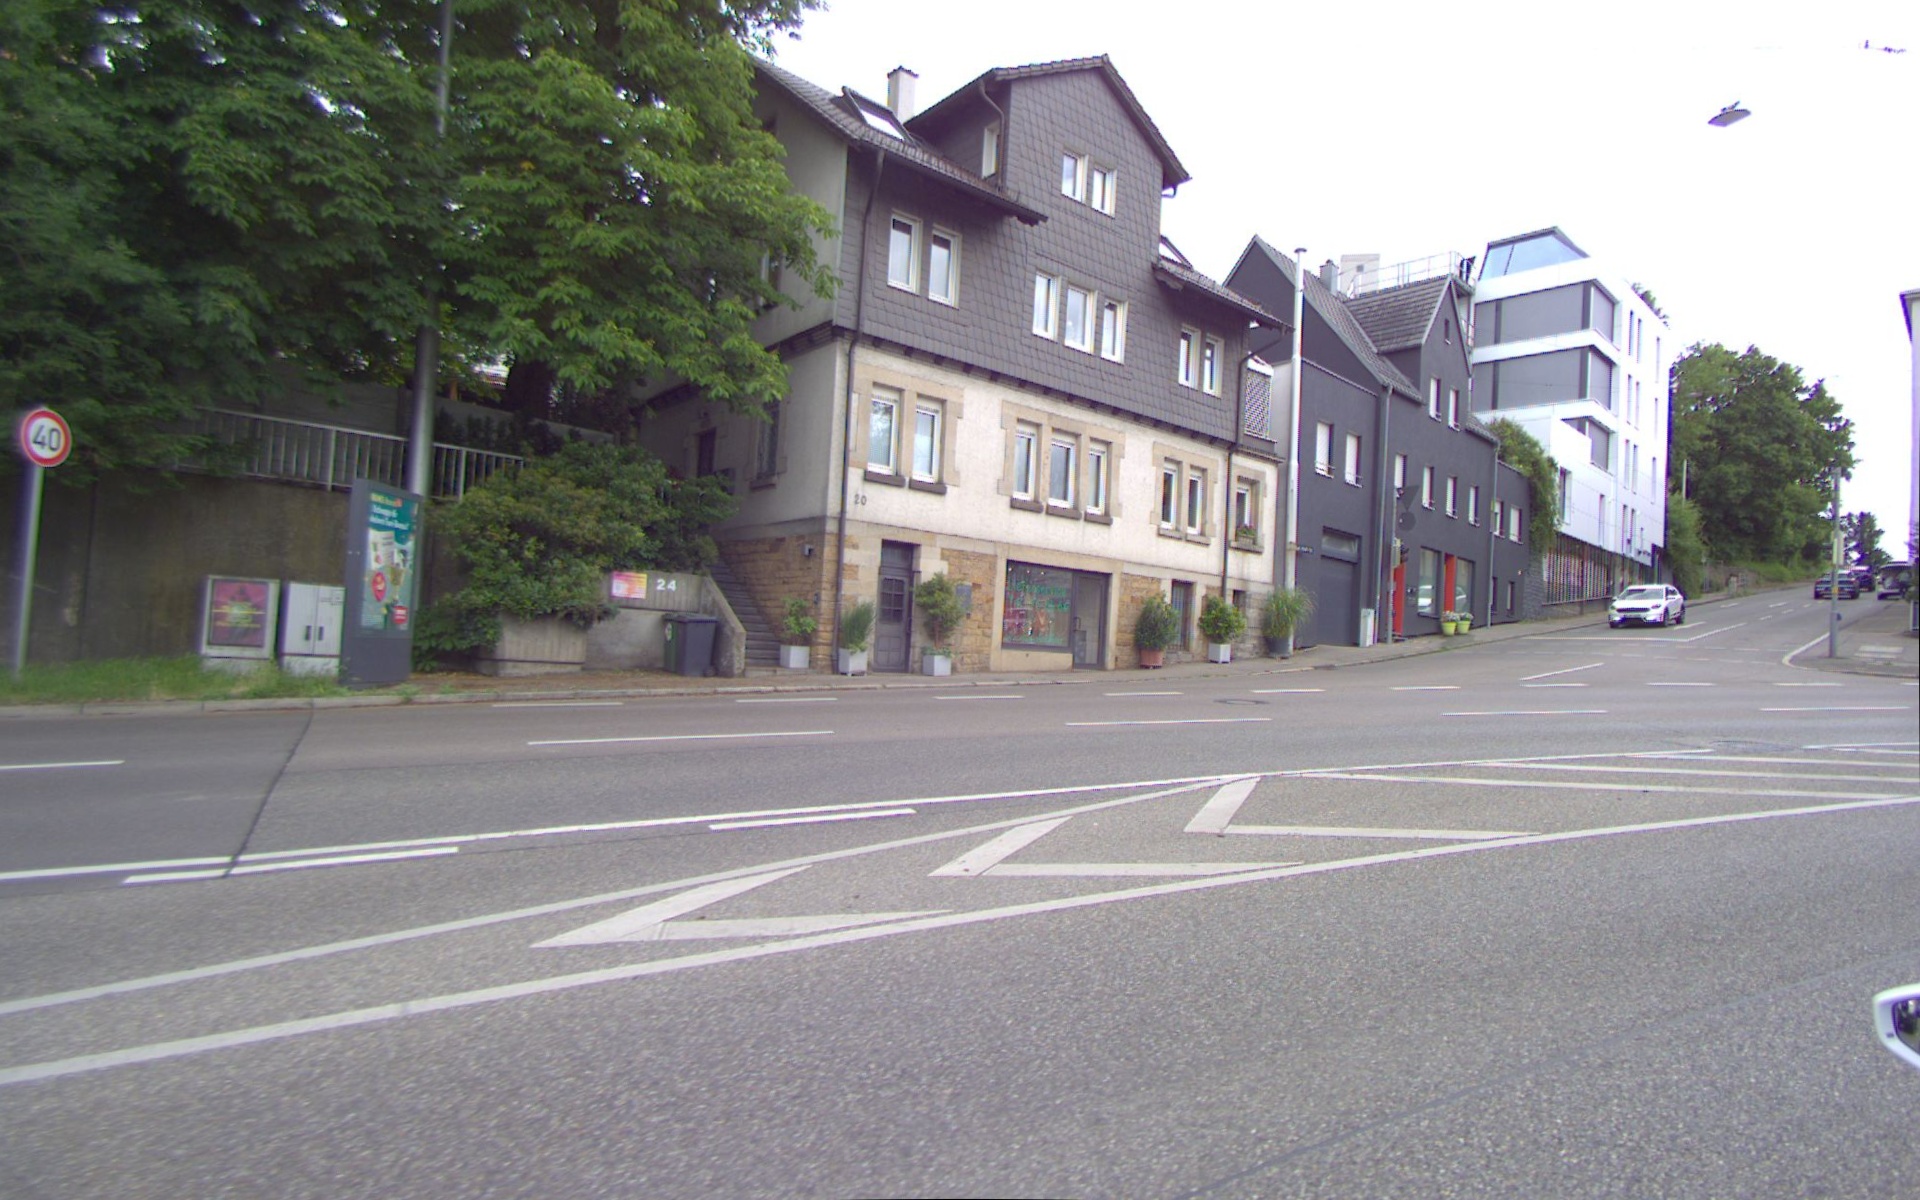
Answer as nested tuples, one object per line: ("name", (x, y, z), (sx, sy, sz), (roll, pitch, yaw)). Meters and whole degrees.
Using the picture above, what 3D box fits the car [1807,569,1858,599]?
("car", (48.932, -0.931, 56.308), (3.971, 1.600, 1.763), (-2, 3, -43))

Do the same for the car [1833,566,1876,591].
("car", (57.978, -1.426, 65.089), (3.971, 1.600, 1.763), (-2, 3, -43))

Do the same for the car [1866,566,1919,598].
("car", (51.003, -0.979, 54.741), (3.971, 1.634, 2.070), (1, 0, -42))

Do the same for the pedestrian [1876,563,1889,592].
("pedestrian", (49.372, -1.187, 53.762), (0.523, 1.550, 0.454), (2, 0, -42))

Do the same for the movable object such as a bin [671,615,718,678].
("movable object such as a bin", (-4.527, 0.796, 17.134), (0.638, 1.032, 0.536), (3, -1, -26))

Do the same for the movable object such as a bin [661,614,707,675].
("movable object such as a bin", (-4.854, 0.777, 17.653), (0.638, 1.032, 0.576), (3, -1, -26))

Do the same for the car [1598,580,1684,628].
("car", (25.865, 0.116, 38.083), (4.358, 1.589, 1.864), (-3, 2, -44))
